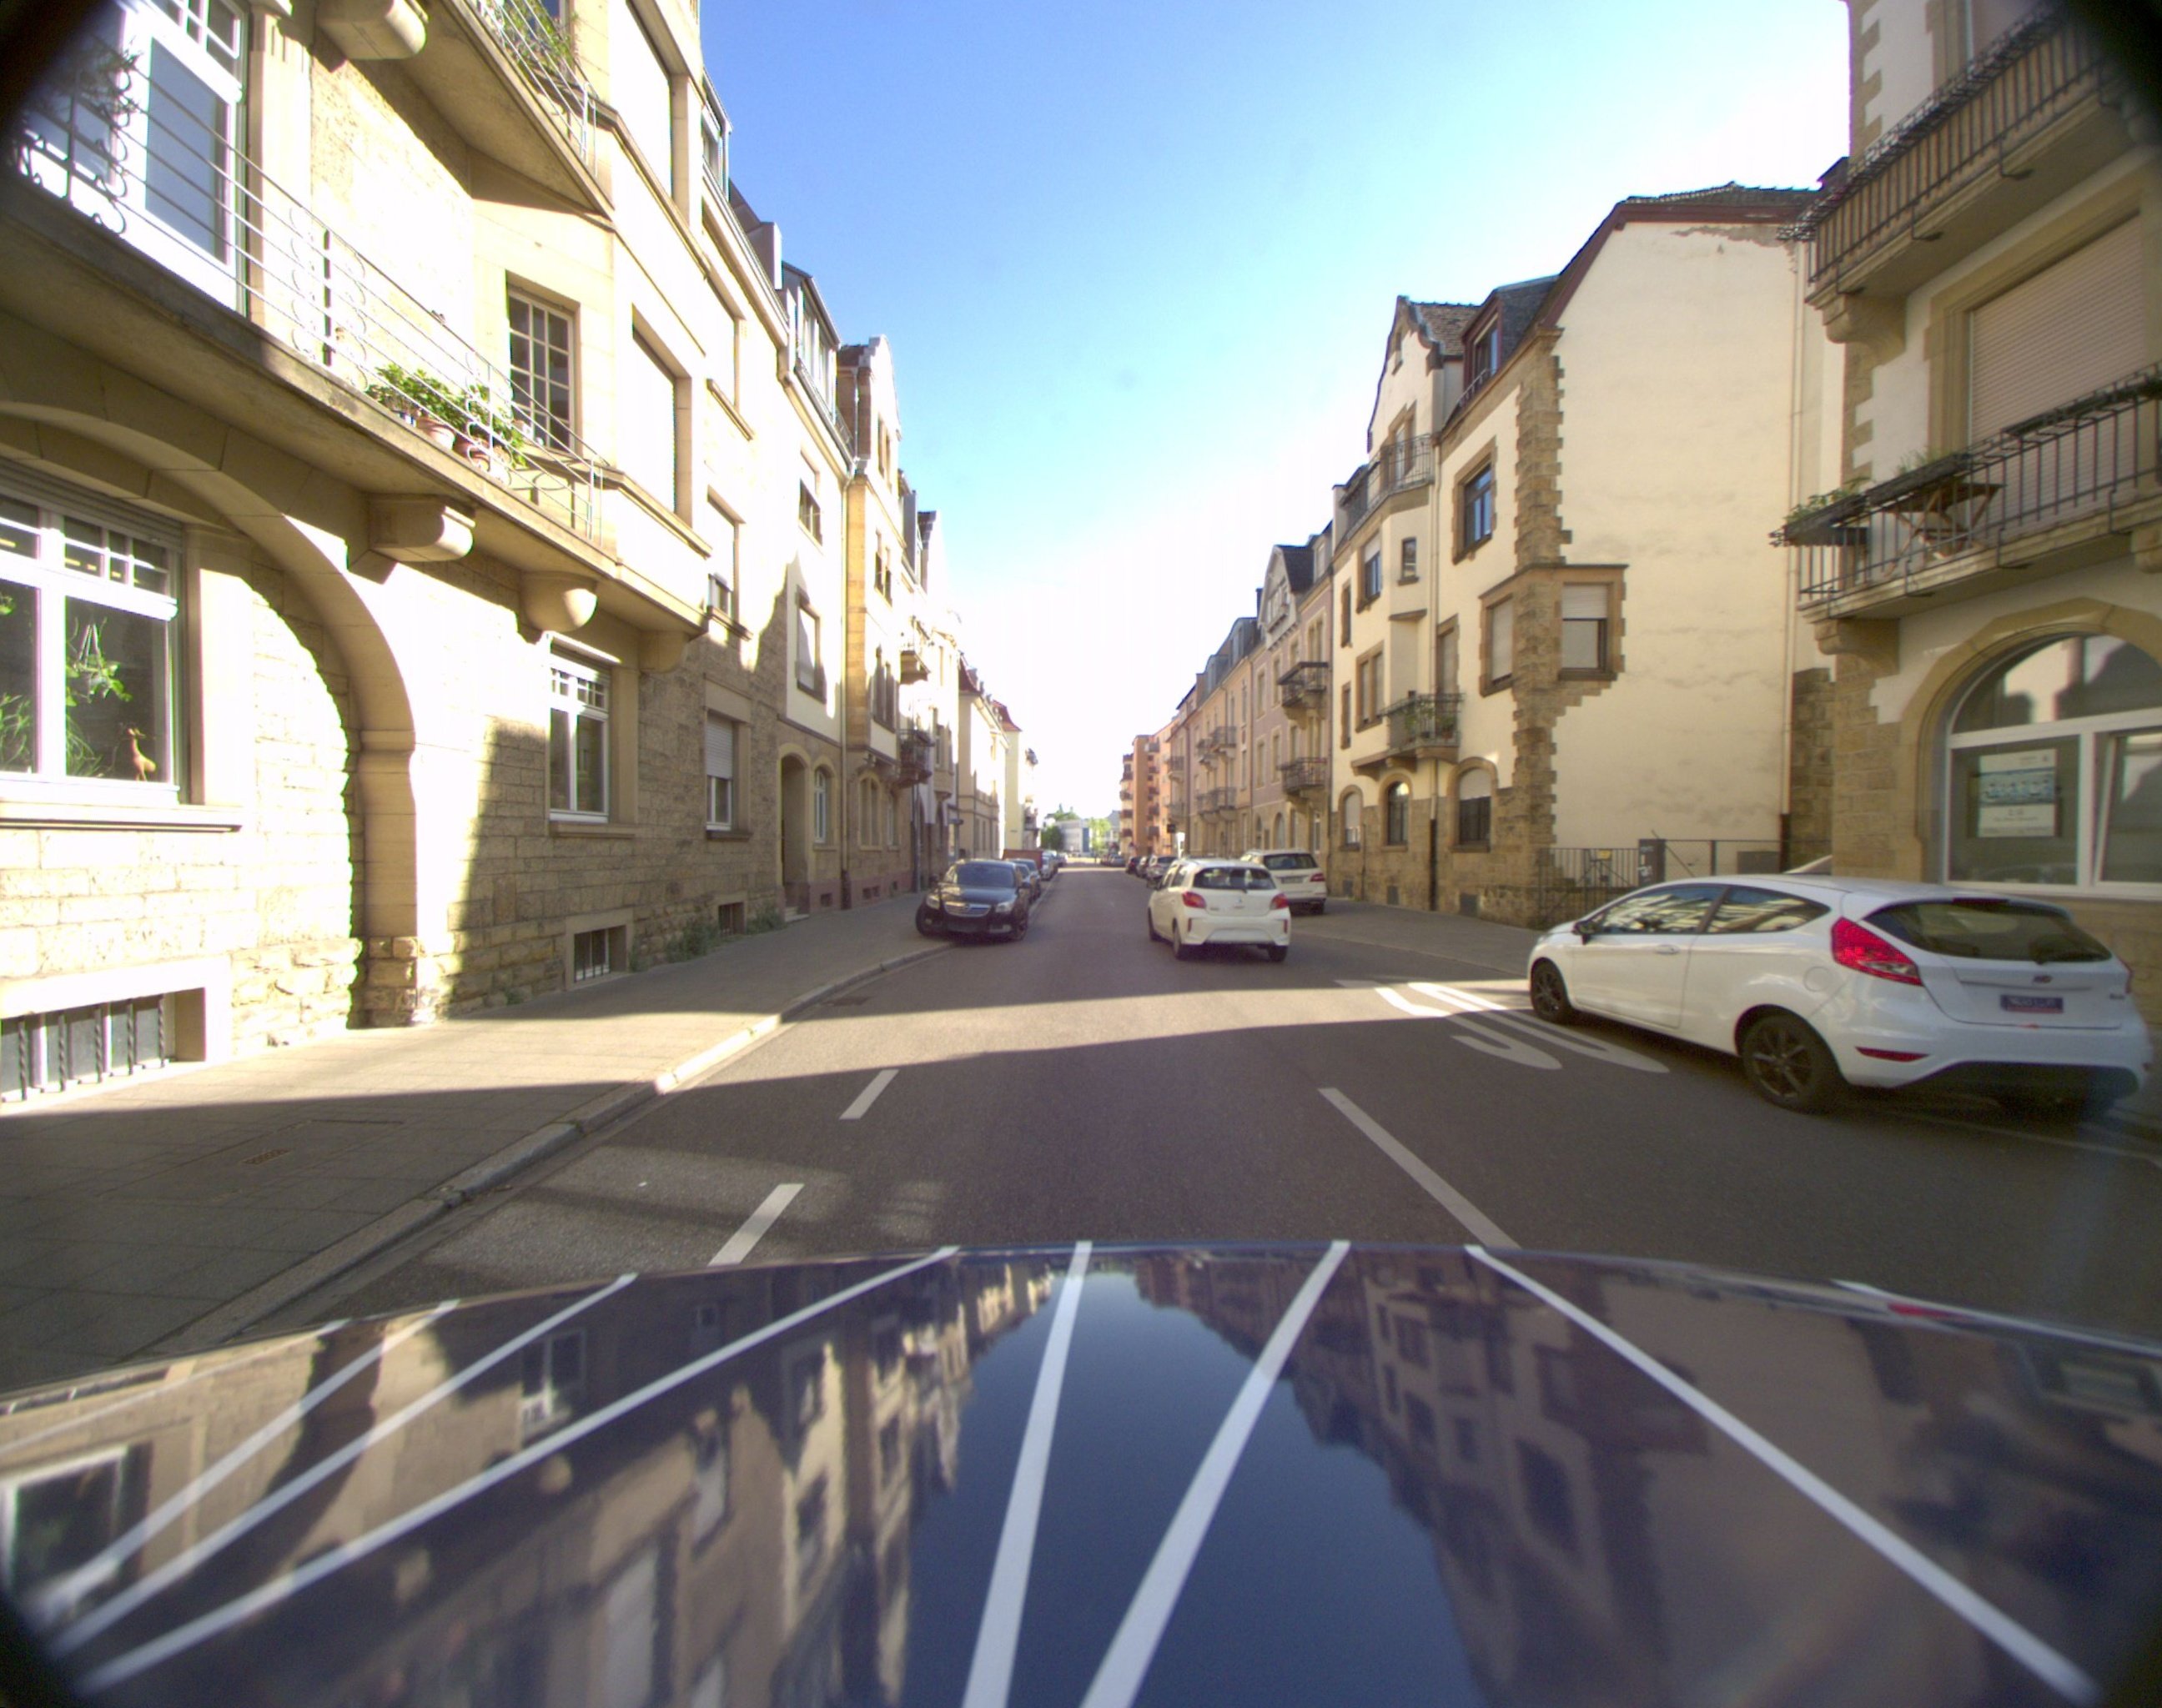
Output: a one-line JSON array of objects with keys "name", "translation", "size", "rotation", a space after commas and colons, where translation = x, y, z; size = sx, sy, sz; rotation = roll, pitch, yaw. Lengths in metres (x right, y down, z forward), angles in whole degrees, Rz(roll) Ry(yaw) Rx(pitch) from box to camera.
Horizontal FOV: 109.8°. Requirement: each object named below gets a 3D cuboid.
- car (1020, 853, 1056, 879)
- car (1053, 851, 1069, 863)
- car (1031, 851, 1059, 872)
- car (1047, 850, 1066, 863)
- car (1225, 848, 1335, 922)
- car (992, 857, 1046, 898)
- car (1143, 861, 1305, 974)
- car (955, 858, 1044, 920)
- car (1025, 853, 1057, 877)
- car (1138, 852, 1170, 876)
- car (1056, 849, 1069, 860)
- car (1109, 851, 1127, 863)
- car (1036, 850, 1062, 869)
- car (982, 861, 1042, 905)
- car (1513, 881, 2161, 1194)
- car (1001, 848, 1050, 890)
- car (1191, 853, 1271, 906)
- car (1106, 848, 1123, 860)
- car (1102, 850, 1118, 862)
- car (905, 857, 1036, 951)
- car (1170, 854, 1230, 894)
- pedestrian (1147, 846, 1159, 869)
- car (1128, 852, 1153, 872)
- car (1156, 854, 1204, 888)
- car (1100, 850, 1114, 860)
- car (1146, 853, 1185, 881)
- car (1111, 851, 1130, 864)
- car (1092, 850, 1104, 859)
[{"name": "car", "translation": [-2.653, 0.711, 47.874], "size": [2.005, 1.500, 4.320], "rotation": [1, 1, -1]}, {"name": "car", "translation": [-2.585, 0.421, 99.959], "size": [2.005, 1.500, 4.320], "rotation": [1, 1, -1]}, {"name": "car", "translation": [-2.746, 0.529, 58.709], "size": [2.005, 1.500, 4.320], "rotation": [1, 1, -1]}, {"name": "car", "translation": [-2.846, 0.257, 88.985], "size": [2.005, 1.500, 4.320], "rotation": [1, 1, -1]}, {"name": "car", "translation": [5.256, 0.746, 20.638], "size": [1.890, 1.717, 4.211], "rotation": [-2, 1, 1]}, {"name": "car", "translation": [-2.384, 0.886, 30.127], "size": [1.824, 1.415, 4.320], "rotation": [1, 1, -1]}, {"name": "car", "translation": [2.096, 0.889, 12.137], "size": [1.703, 1.474, 3.533], "rotation": [1, 0, -4]}, {"name": "car", "translation": [-2.096, 0.870, 20.806], "size": [2.005, 1.499, 4.321], "rotation": [1, 0, -1]}, {"name": "car", "translation": [-2.749, 0.731, 52.647], "size": [2.005, 1.500, 4.320], "rotation": [1, 1, -1]}, {"name": "car", "translation": [4.991, 0.661, 52.357], "size": [1.809, 1.500, 4.003], "rotation": [-2, 1, 1]}, {"name": "car", "translation": [-2.944, 0.056, 123.342], "size": [2.005, 1.722, 4.320], "rotation": [1, 1, -1]}, {"name": "car", "translation": [4.621, 0.381, 96.212], "size": [2.005, 1.500, 4.320], "rotation": [1, 1, -1]}, {"name": "car", "translation": [-2.673, 0.445, 64.505], "size": [2.005, 1.500, 4.320], "rotation": [1, 1, -1]}, {"name": "car", "translation": [-2.233, 0.922, 25.384], "size": [1.661, 1.272, 3.729], "rotation": [1, 1, -1]}, {"name": "car", "translation": [5.100, 1.011, 5.726], "size": [1.656, 1.449, 3.643], "rotation": [2, 0, 2]}, {"name": "car", "translation": [-2.559, 0.645, 35.816], "size": [2.005, 1.828, 4.320], "rotation": [1, 1, -1]}, {"name": "car", "translation": [5.123, 0.816, 26.551], "size": [1.890, 1.500, 4.320], "rotation": [-4, 1, 1]}, {"name": "car", "translation": [4.497, -0.008, 101.982], "size": [2.005, 1.500, 4.320], "rotation": [1, 1, -1]}, {"name": "car", "translation": [4.110, 0.276, 107.258], "size": [2.005, 1.500, 4.320], "rotation": [1, 1, -1]}, {"name": "car", "translation": [-2.037, 0.878, 15.251], "size": [2.024, 1.500, 4.111], "rotation": [2, 1, -1]}, {"name": "car", "translation": [4.984, 0.789, 32.372], "size": [1.890, 1.500, 4.320], "rotation": [-2, 1, 1]}, {"name": "pedestrian", "translation": [6.538, 0.329, 69.029], "size": [0.952, 2.002, 1.066], "rotation": [-2, 1, 1]}, {"name": "car", "translation": [4.892, 0.633, 62.979], "size": [1.793, 1.500, 4.320], "rotation": [-2, 1, 1]}, {"name": "car", "translation": [4.856, 0.811, 37.813], "size": [1.857, 1.491, 4.318], "rotation": [-2, 1, 1]}, {"name": "car", "translation": [3.956, 0.175, 116.766], "size": [2.005, 1.500, 4.320], "rotation": [1, 1, -1]}, {"name": "car", "translation": [5.021, 0.727, 45.839], "size": [1.890, 1.500, 4.320], "rotation": [-2, 1, 1]}, {"name": "car", "translation": [4.671, 0.398, 91.398], "size": [2.005, 1.500, 4.320], "rotation": [1, 1, -1]}, {"name": "car", "translation": [2.970, 0.001, 134.484], "size": [2.005, 1.500, 4.320], "rotation": [1, 1, -1]}]
